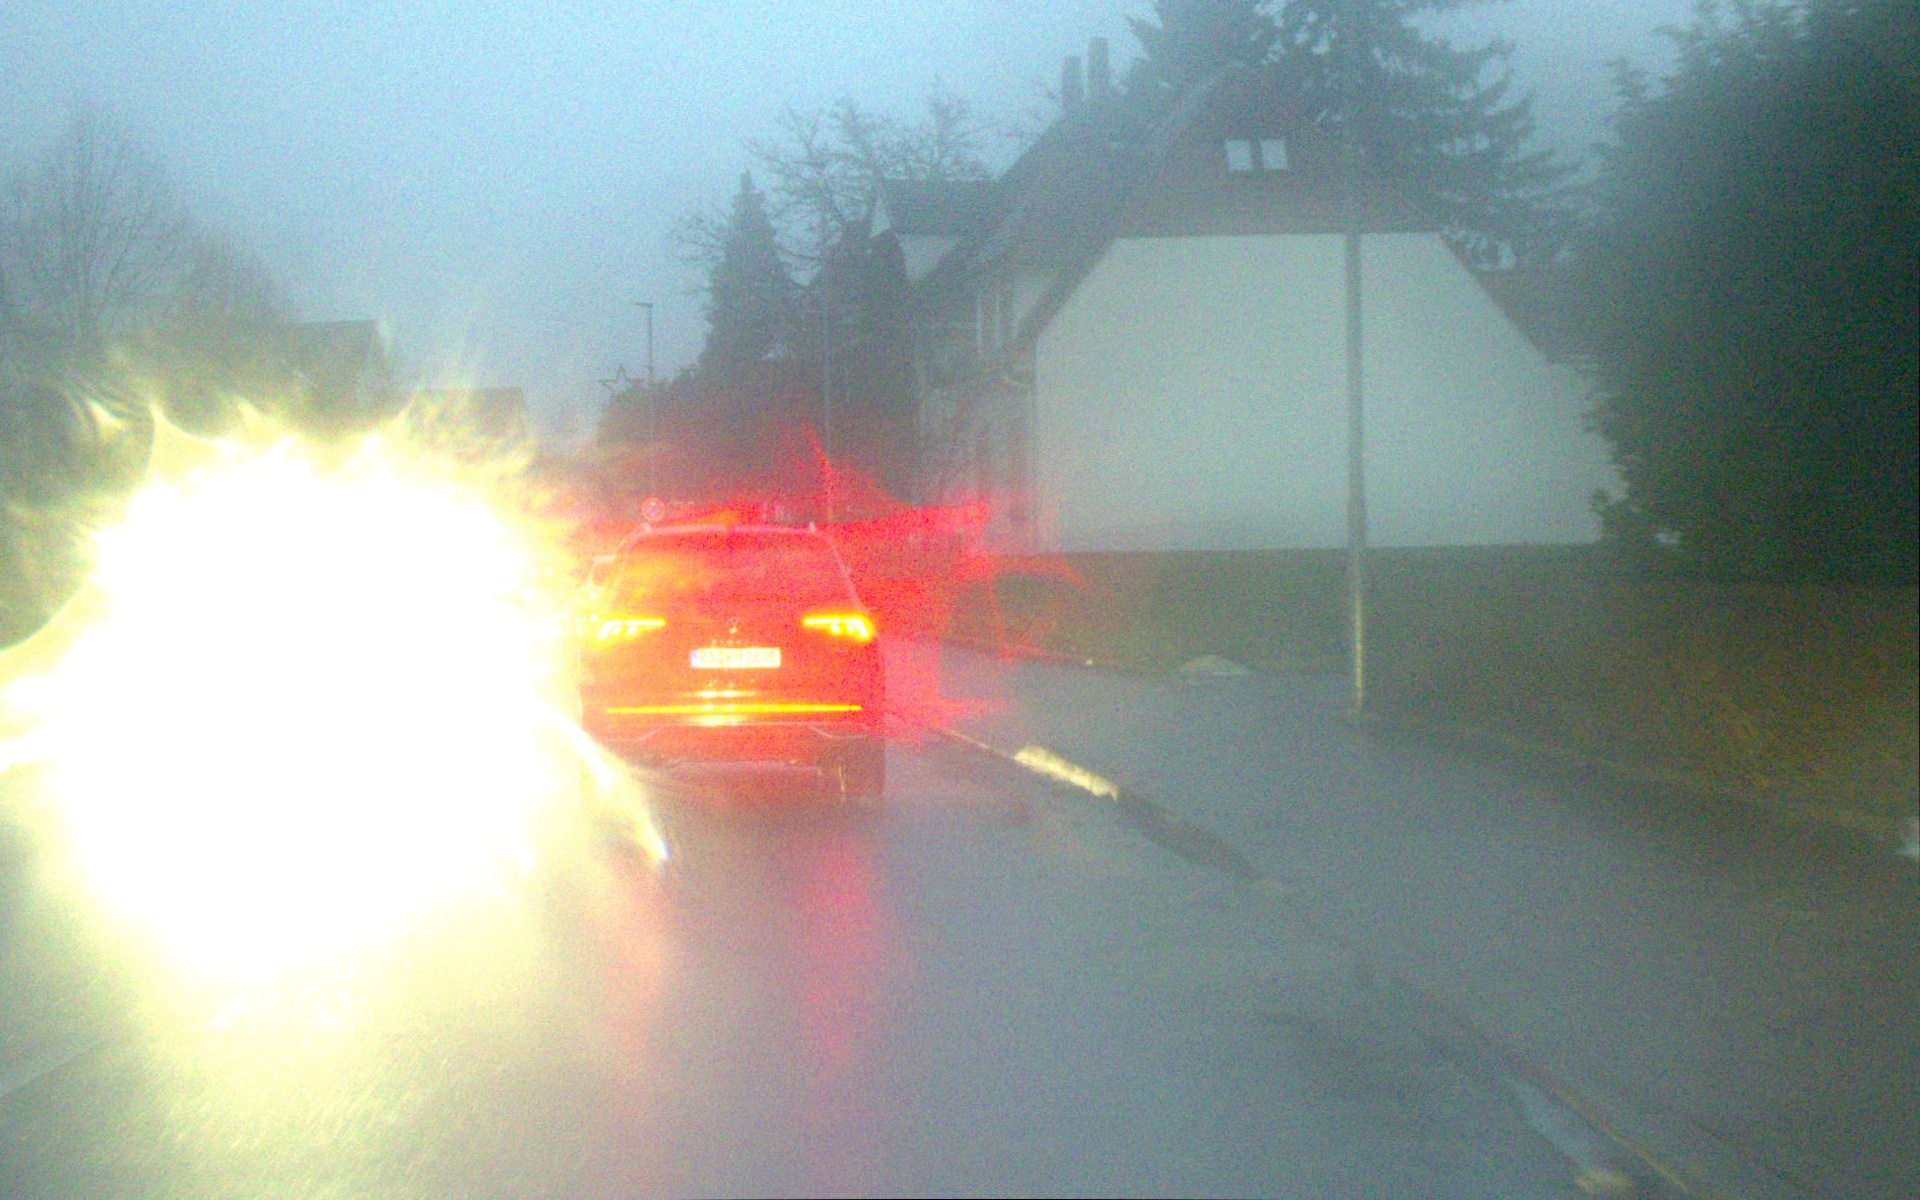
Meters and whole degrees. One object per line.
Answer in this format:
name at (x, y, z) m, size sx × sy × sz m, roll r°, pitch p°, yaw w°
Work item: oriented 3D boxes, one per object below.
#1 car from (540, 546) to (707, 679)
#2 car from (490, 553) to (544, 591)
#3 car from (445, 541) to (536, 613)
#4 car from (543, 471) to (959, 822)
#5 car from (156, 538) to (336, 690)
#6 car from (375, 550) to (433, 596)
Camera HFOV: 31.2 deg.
car at (-4.485, 0.123, 45.399) m, size 1.857 × 1.641 × 4.001 m, roll 0°, pitch 1°, yaw -11°
car at (-16.422, -1.050, 127.632) m, size 1.842 × 1.327 × 3.938 m, roll -2°, pitch 1°, yaw -6°
car at (-13.269, -0.643, 96.860) m, size 2.309 × 1.932 × 5.019 m, roll -1°, pitch 0°, yaw -10°
car at (-1.377, 0.244, 21.934) m, size 2.309 × 1.932 × 5.019 m, roll -1°, pitch 0°, yaw -5°
car at (-7.995, 0.123, 38.712) m, size 1.823 × 1.548 × 4.001 m, roll -2°, pitch 1°, yaw -11°
car at (-20.332, -1.011, 125.817) m, size 1.912 × 1.517 × 4.001 m, roll -1°, pitch 3°, yaw -7°
